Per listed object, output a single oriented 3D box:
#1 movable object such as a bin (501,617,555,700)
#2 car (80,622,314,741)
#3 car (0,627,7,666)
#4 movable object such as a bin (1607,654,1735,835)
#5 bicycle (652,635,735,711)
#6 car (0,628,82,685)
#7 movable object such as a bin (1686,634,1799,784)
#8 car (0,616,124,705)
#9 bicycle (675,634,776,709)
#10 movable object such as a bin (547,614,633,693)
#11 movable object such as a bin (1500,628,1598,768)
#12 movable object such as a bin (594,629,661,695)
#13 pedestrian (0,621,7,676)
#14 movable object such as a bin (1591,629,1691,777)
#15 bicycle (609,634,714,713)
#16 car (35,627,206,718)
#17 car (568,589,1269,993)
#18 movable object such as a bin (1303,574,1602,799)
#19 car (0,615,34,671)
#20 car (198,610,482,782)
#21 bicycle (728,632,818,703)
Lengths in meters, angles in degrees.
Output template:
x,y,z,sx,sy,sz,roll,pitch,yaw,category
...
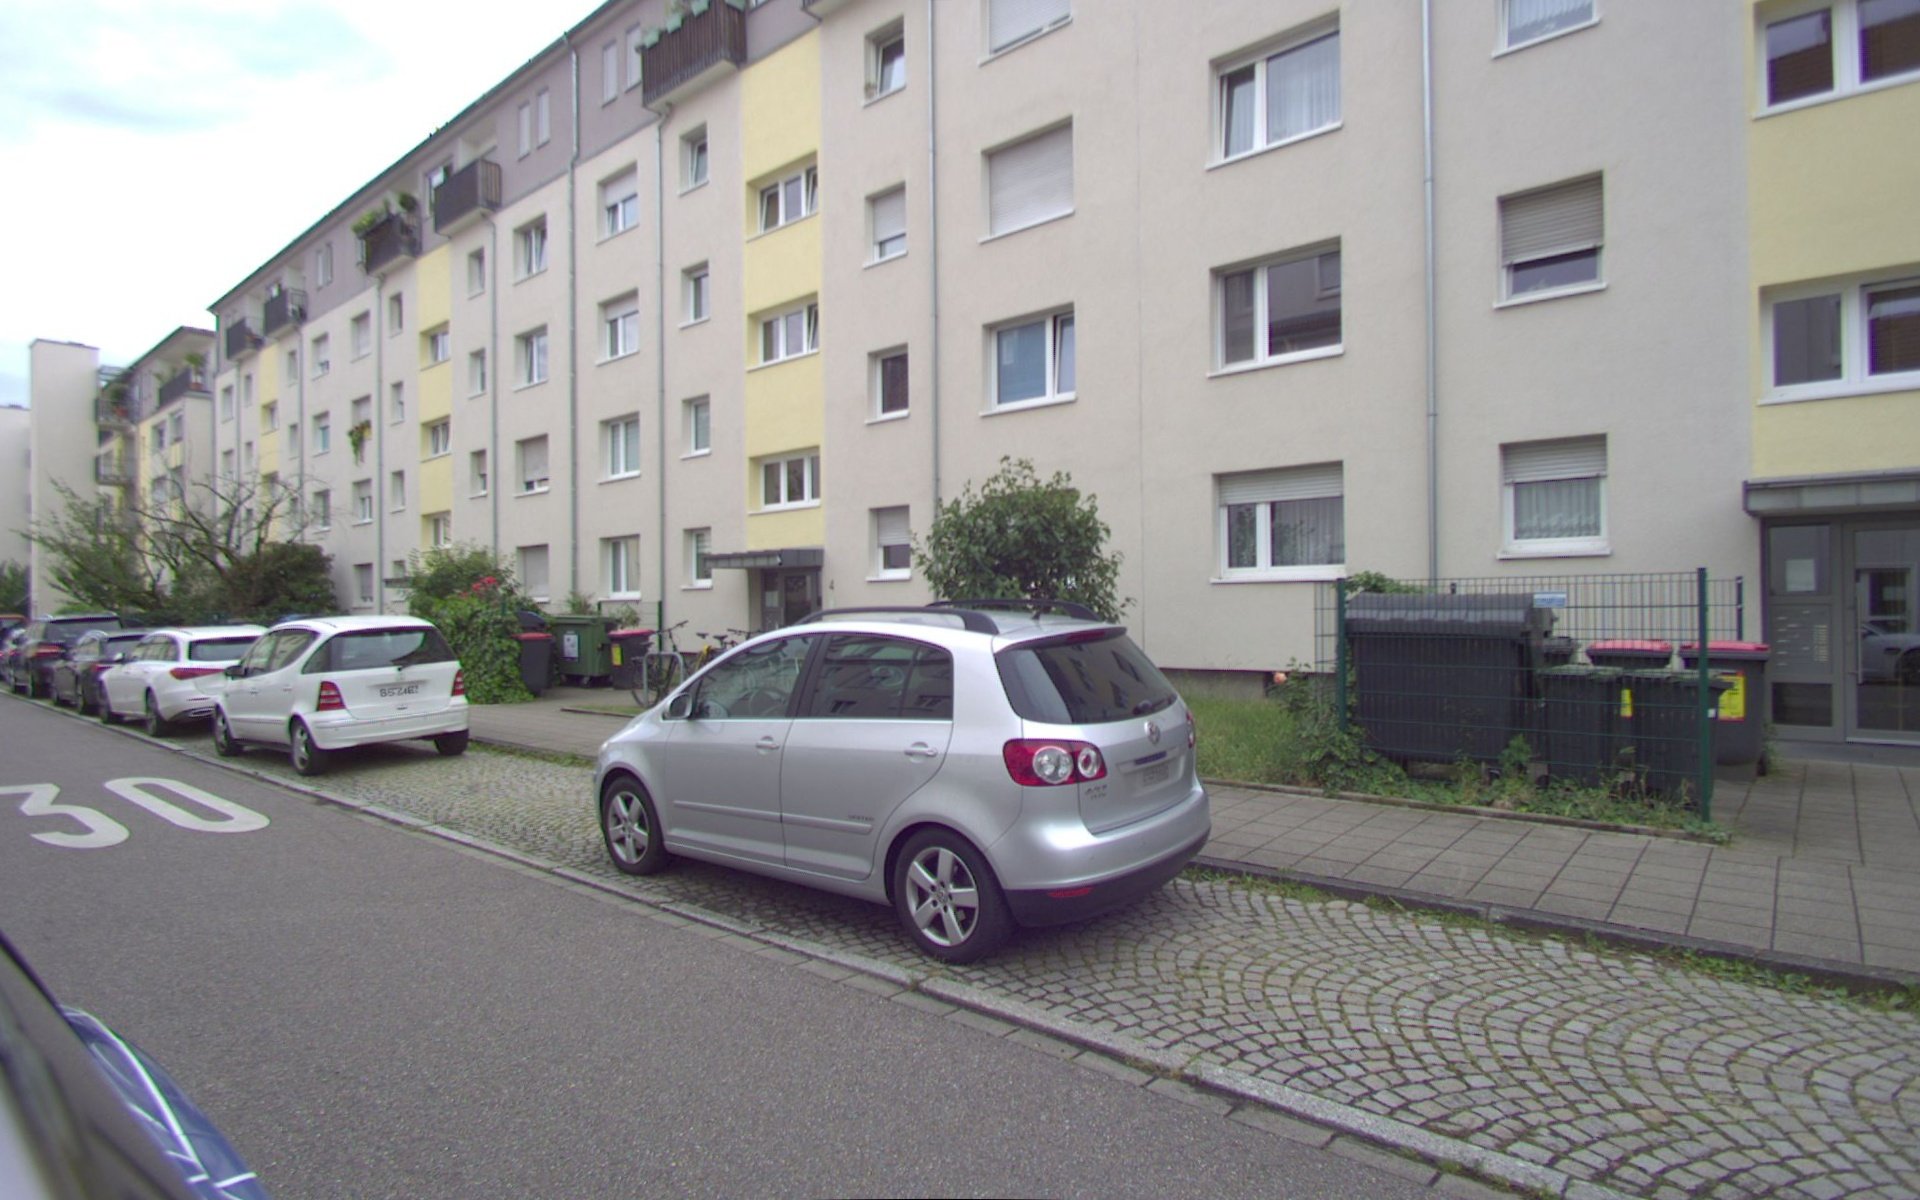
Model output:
x,y,z,sx,sy,sz,roll,pitch,yaw,category
-7.436,0.988,17.443,0.587,1.378,0.651,0,0,36,movable object such as a bin
-11.593,1.144,15.248,4.681,1.521,1.701,-2,-2,38,car
-37.579,1.773,38.318,3.537,1.455,1.686,-2,-2,38,car
4.456,0.868,6.340,0.597,1.041,0.531,-2,-2,39,movable object such as a bin
-3.834,1.022,14.512,1.496,1.032,0.352,-2,-2,40,bicycle
-25.052,1.496,27.220,3.537,1.407,1.556,-2,-2,38,car
6.068,0.808,7.852,0.633,1.059,0.855,-2,-2,39,movable object such as a bin
-20.114,1.308,22.523,4.448,1.793,1.555,-2,-2,40,car
-3.455,1.016,14.832,1.753,1.032,0.473,-2,-2,40,bicycle
-6.898,0.976,18.878,1.187,1.385,1.047,0,0,36,movable object such as a bin
5.087,0.814,8.734,0.597,1.125,0.834,-2,-2,38,movable object such as a bin
-6.002,1.104,18.281,0.786,1.117,0.861,0,0,36,movable object such as a bin
-29.457,1.480,30.788,0.621,1.679,0.596,-2,-2,38,pedestrian
5.603,0.812,8.316,0.597,1.125,0.834,-2,-2,38,movable object such as a bin
-4.218,1.005,14.219,1.877,1.032,0.483,-2,-2,41,bicycle
-15.519,1.238,18.625,4.480,1.464,1.707,-1,-1,41,car
-0.446,0.788,5.823,3.911,1.562,1.638,-2,-1,39,car
3.714,0.573,7.607,1.670,1.432,1.573,-2,-1,40,movable object such as a bin
-32.885,1.476,34.301,3.537,1.820,1.686,-2,-2,38,car
-7.178,0.972,11.593,3.724,1.651,1.668,-2,-1,40,car
-2.871,1.007,15.485,1.557,1.032,0.416,-2,-1,38,bicycle
